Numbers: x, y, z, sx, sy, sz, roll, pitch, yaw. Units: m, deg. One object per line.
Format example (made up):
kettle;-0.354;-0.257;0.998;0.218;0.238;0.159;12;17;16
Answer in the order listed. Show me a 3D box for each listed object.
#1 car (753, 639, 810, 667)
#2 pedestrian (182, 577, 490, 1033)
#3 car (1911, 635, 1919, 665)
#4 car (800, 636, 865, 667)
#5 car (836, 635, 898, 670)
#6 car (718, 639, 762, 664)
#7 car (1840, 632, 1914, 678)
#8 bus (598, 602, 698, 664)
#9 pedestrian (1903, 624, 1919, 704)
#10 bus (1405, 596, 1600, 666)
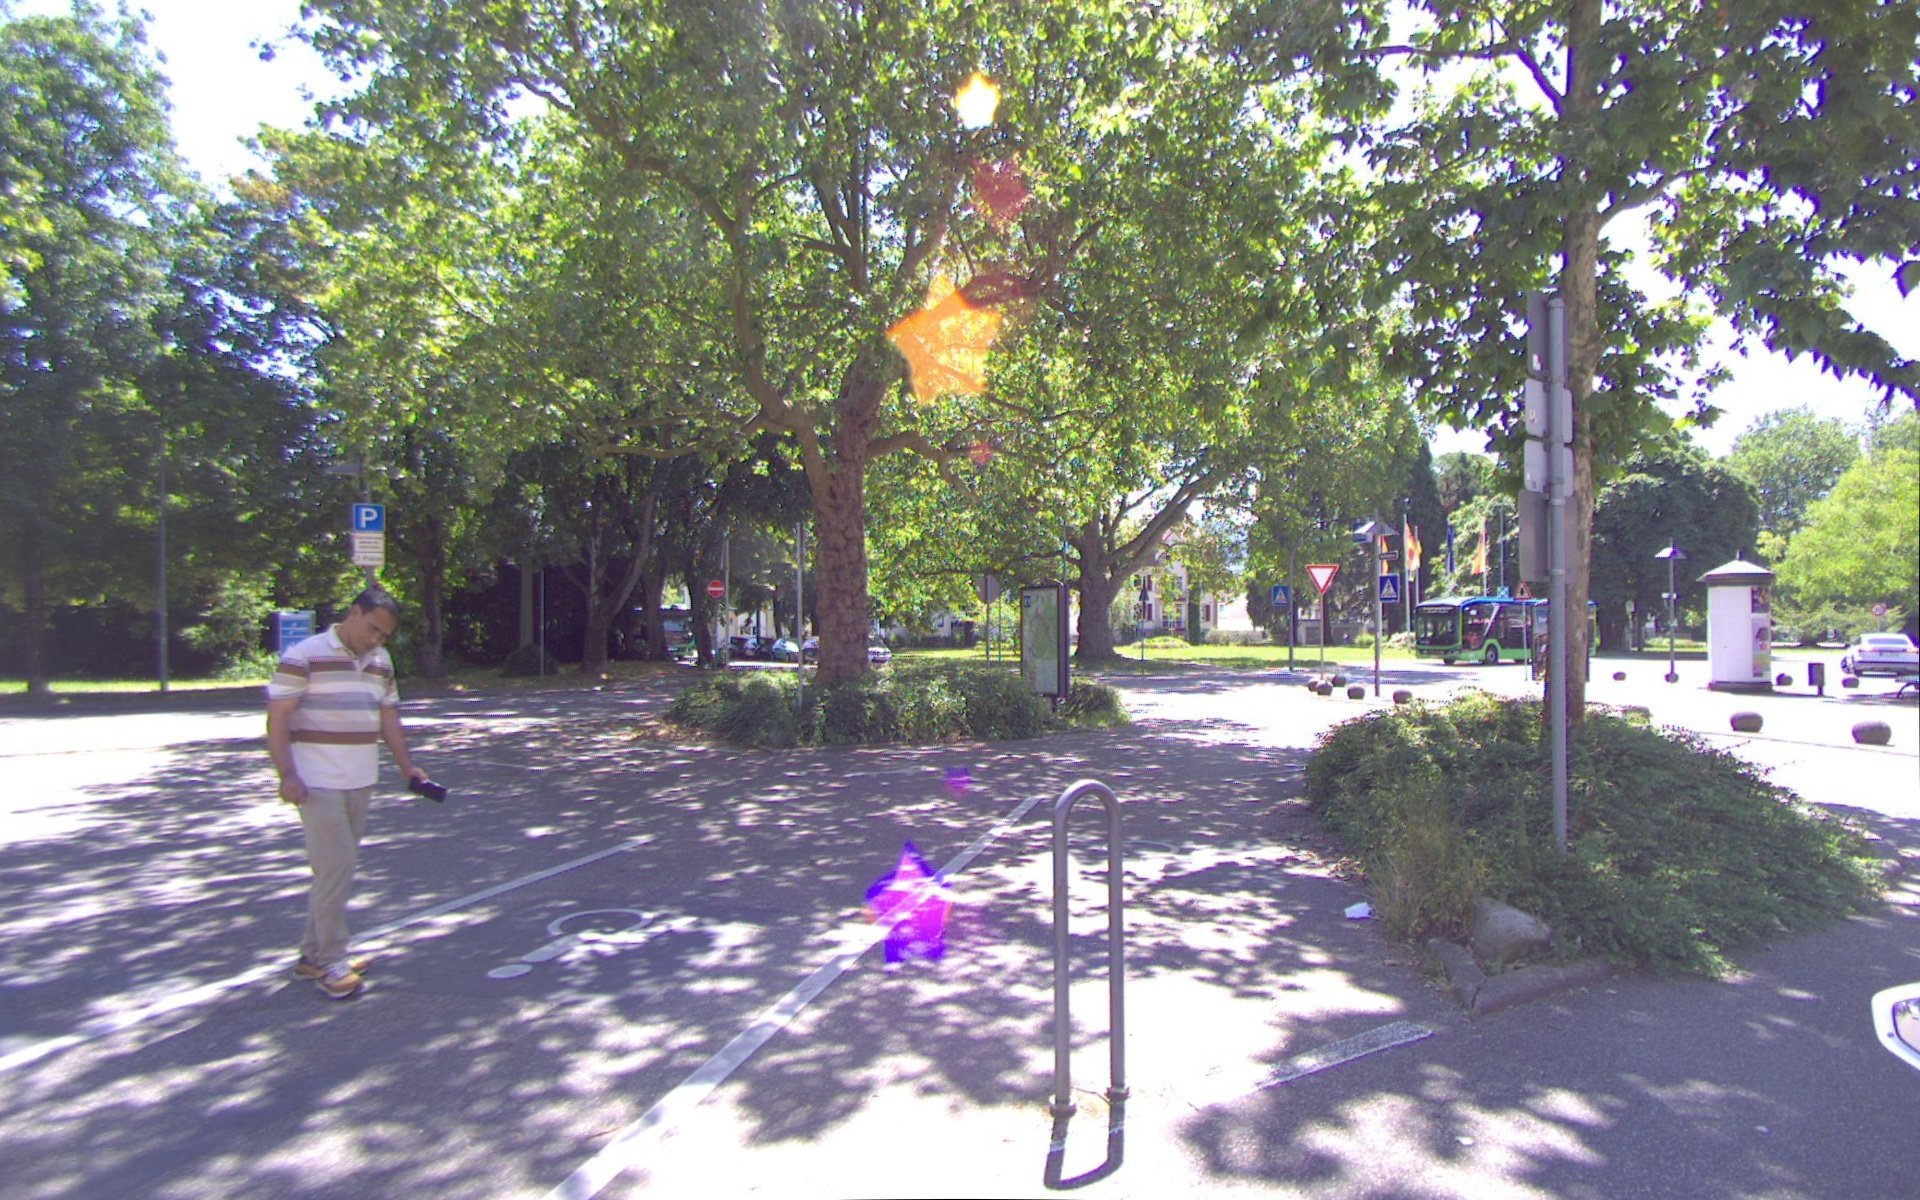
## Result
car;-10.037;2.937;56.273;1.734;1.458;4.735;1;-2;-29
pedestrian;-2.646;0.799;4.341;0.758;1.740;0.815;-1;-2;14
car;49.559;2.436;49.993;4.669;1.479;1.919;1;-5;-30
car;-6.479;2.575;50.771;1.735;1.458;4.470;2;-3;-28
car;-4.296;2.397;45.860;1.580;1.516;3.460;2;-3;-29
car;-14.049;3.262;64.028;1.739;1.513;3.888;1;-2;-29
car;35.829;2.096;39.193;1.962;1.648;4.749;-2;-3;44
bus;-19.405;2.052;61.532;2.842;3.338;15.834;1;-2;-28
pedestrian;21.823;1.445;22.677;0.682;1.787;0.583;-1;-2;36
bus;28.133;1.582;51.782;12.276;3.326;2.796;1;-2;-30
